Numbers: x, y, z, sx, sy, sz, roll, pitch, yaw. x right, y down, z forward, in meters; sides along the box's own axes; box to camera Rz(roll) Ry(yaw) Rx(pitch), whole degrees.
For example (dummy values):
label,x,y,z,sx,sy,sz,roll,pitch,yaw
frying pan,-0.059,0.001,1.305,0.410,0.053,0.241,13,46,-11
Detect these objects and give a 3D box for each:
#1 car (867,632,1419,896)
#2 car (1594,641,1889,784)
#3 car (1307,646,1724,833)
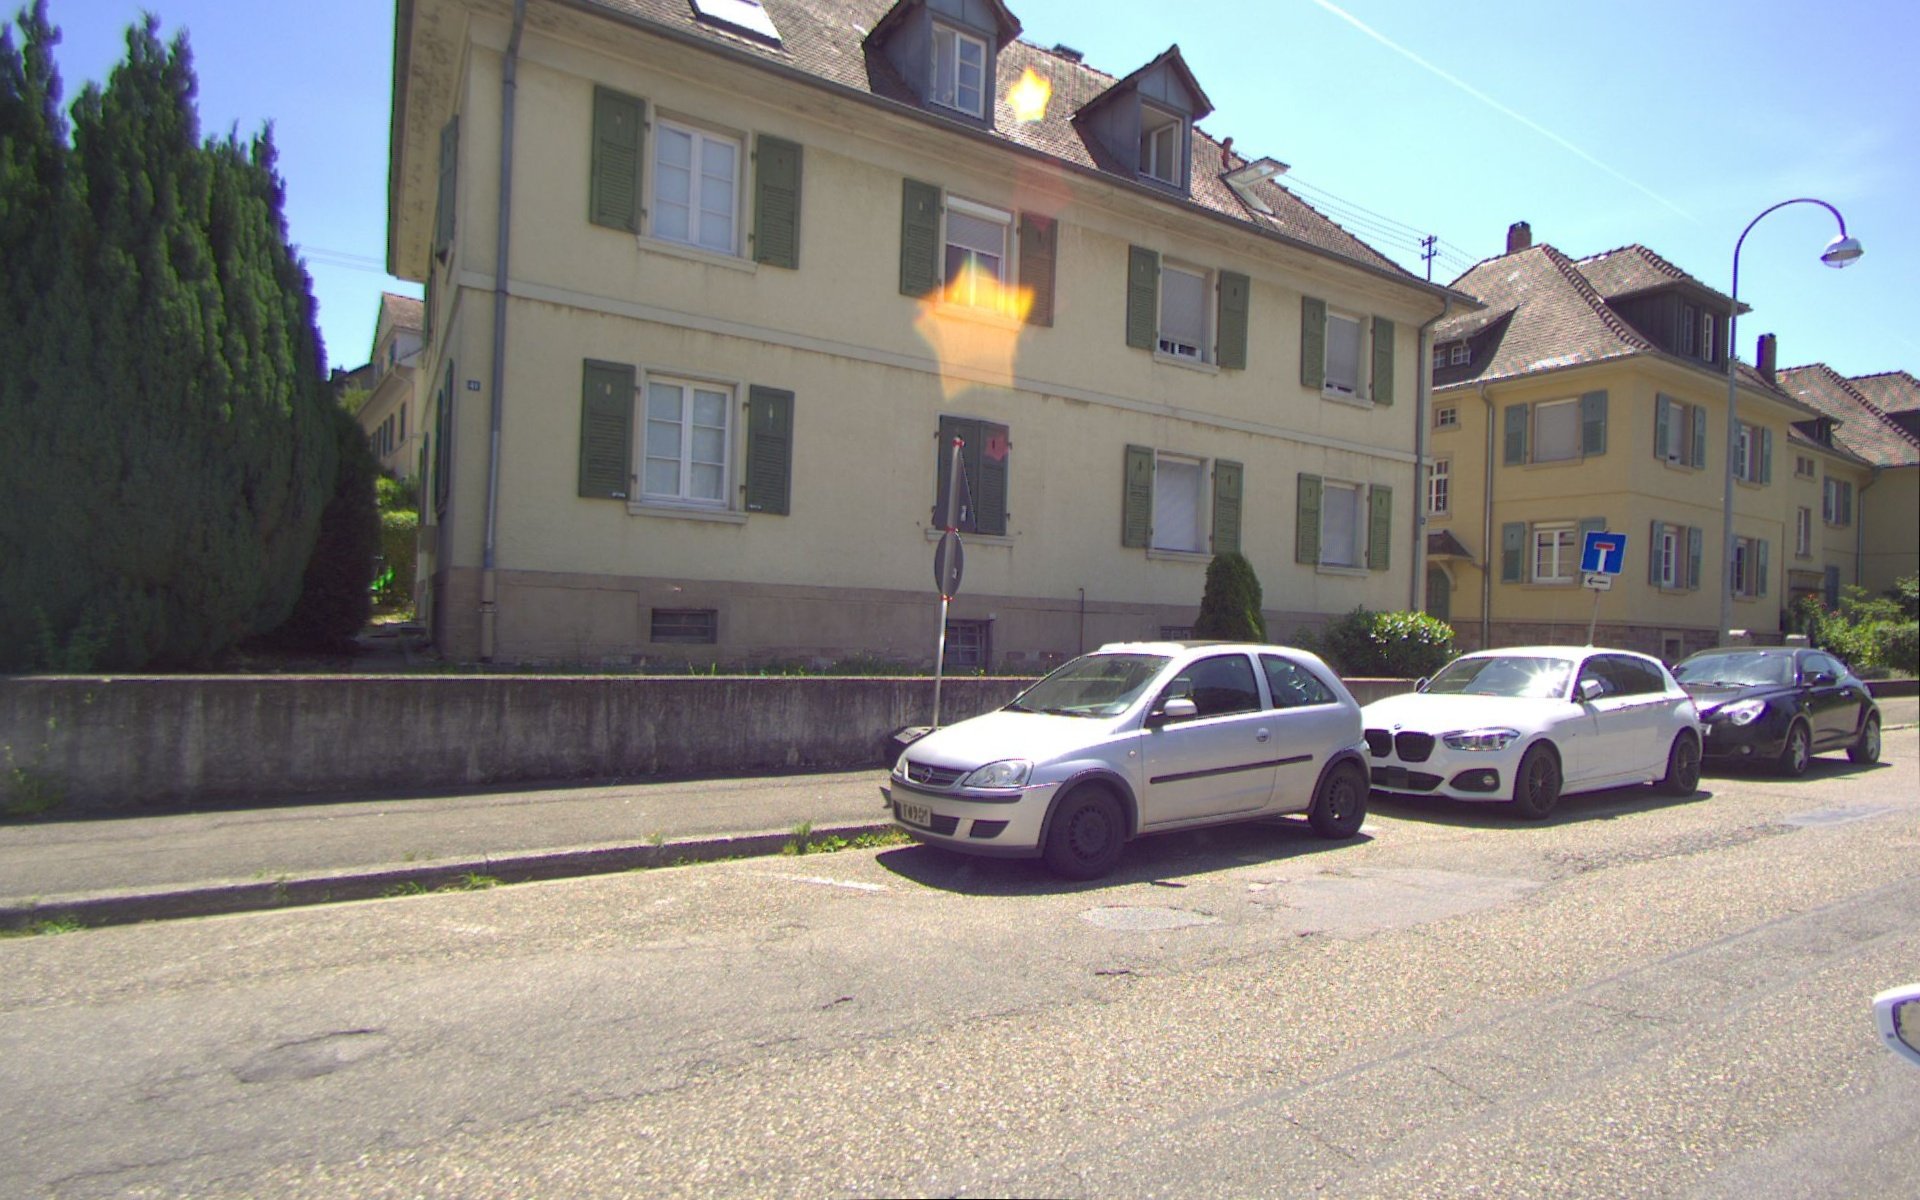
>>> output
label,x,y,z,sx,sy,sz,roll,pitch,yaw
car,1.441,1.006,7.406,3.882,1.466,1.749,2,-3,-33
car,9.772,1.299,12.495,4.034,1.504,1.706,3,-3,-34
car,5.415,1.182,9.650,4.174,1.420,1.784,2,-3,-33
